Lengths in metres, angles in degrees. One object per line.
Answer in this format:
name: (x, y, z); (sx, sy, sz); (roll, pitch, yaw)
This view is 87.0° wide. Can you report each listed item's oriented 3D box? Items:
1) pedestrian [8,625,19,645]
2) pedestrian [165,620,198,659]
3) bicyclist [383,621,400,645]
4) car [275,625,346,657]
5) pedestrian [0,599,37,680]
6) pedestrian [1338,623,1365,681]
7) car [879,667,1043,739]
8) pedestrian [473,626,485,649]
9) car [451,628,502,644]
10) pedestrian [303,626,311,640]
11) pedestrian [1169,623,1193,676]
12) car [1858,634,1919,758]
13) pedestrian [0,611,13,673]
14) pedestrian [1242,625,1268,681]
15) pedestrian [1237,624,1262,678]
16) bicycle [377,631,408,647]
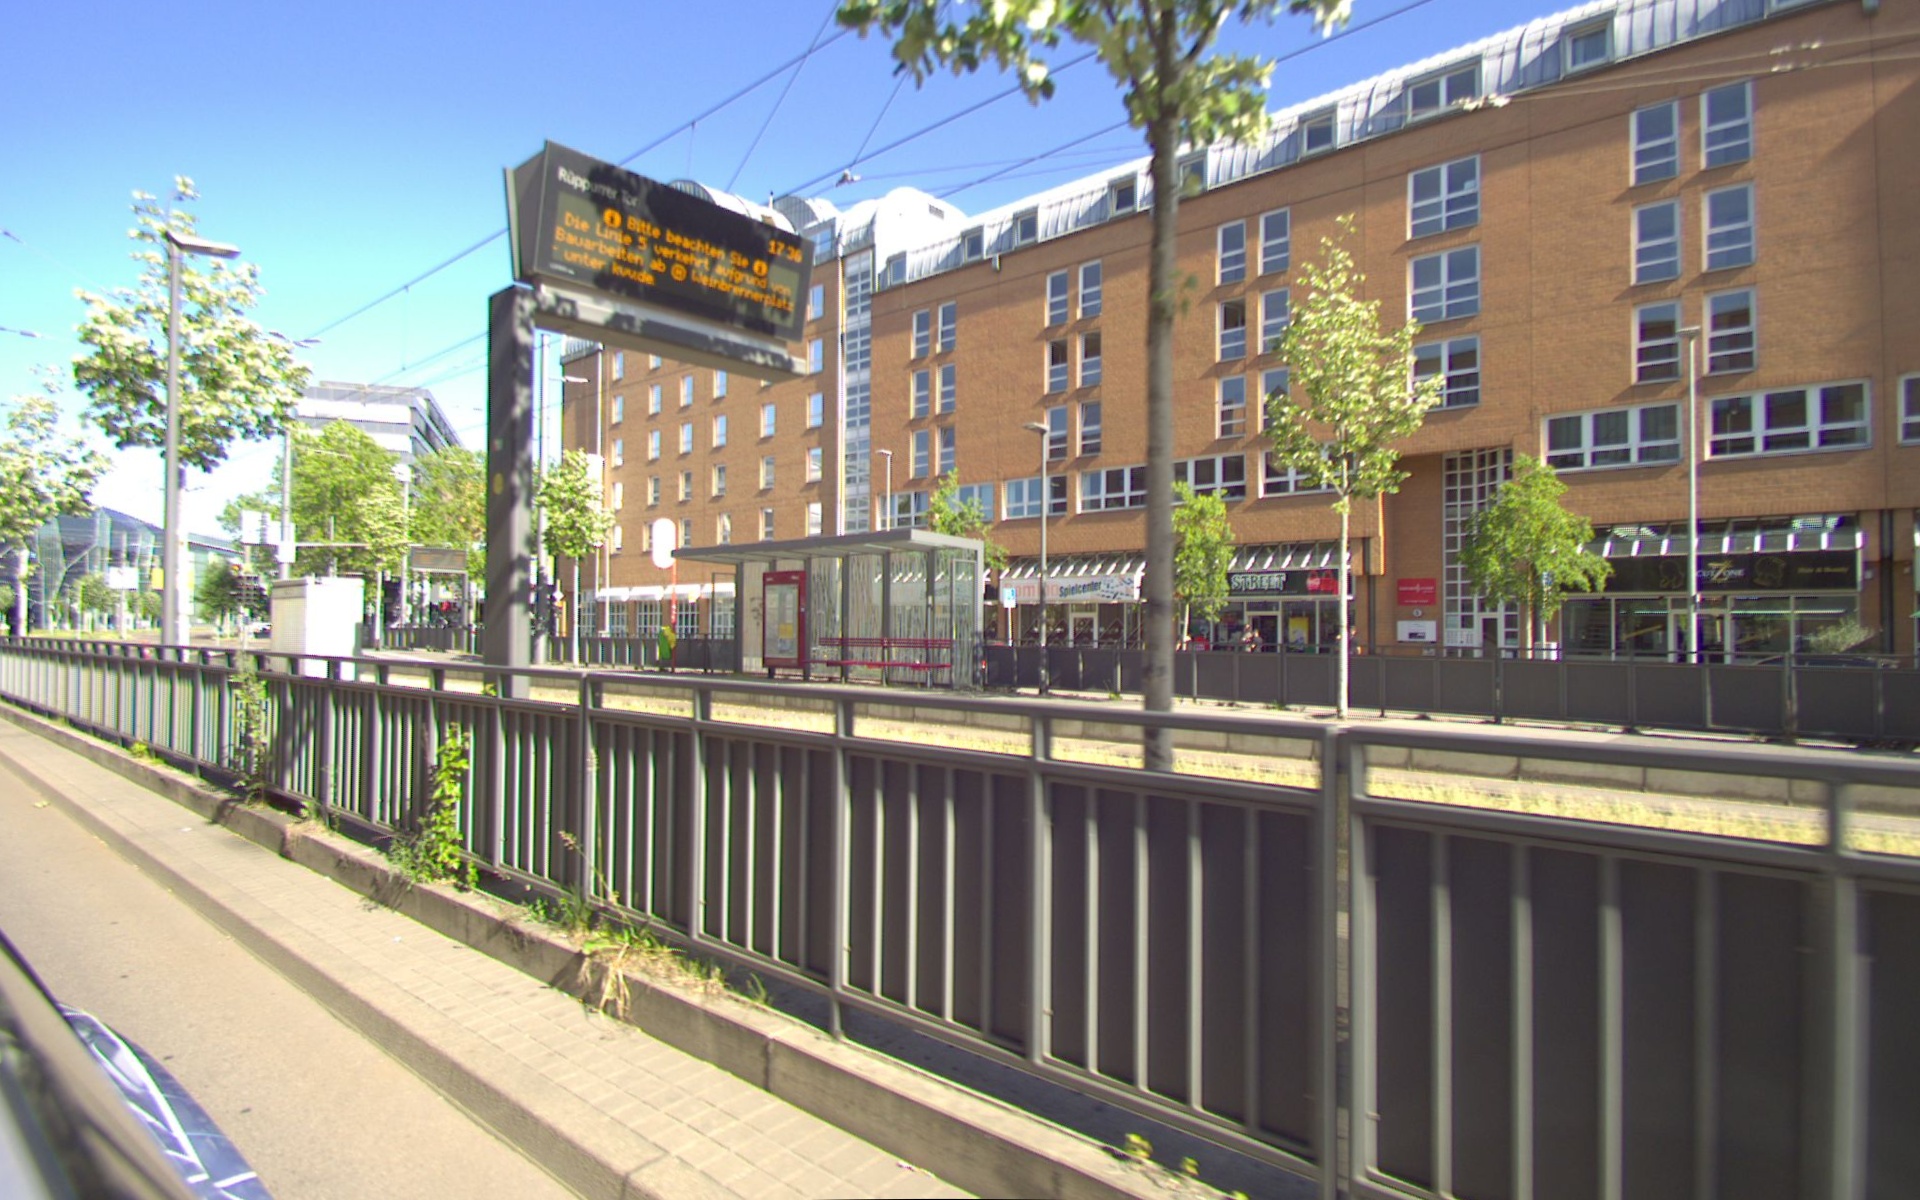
pedestrian: (-77.089, 2.871, 82.416); (0.572, 1.647, 0.549); (2, -2, -37)
pedestrian: (-33.932, 1.713, 44.122); (1.006, 1.702, 0.947); (-1, -3, 42)
bicyclist: (-39.860, 2.319, 70.957); (0.836, 1.652, 0.780); (2, -3, -40)
car: (-32.485, 2.031, 50.567); (4.287, 1.510, 1.911); (-1, -2, 42)
pedestrian: (-20.798, 0.859, 22.183); (0.751, 1.736, 0.702); (-1, -3, 39)
pedestrian: (12.635, 1.677, 32.652); (0.644, 1.854, 0.614); (-1, -3, 41)
car: (-0.016, 2.597, 26.216); (3.997, 1.475, 1.859); (0, 0, 40)
pedestrian: (-36.963, 2.896, 77.793); (0.728, 1.719, 0.637); (-1, -3, 45)
car: (-47.605, 3.578, 99.626); (1.910, 1.519, 4.114); (-1, -3, 43)
pedestrian: (-66.038, 3.305, 102.328); (0.653, 1.408, 0.673); (2, -2, -37)
pedestrian: (7.973, 1.777, 36.447); (0.644, 1.854, 0.614); (-1, -3, 39)
car: (15.321, 1.383, 14.214); (3.998, 1.696, 1.973); (0, 0, 41)
pedestrian: (-28.673, 1.221, 29.775); (1.021, 1.825, 0.982); (-1, -2, 37)
pedestrian: (9.849, 1.754, 33.787); (0.644, 1.854, 0.614); (-1, -3, 39)
pedestrian: (10.214, 1.792, 35.727); (0.644, 1.854, 0.614); (-1, -3, 39)
bicycle: (-39.775, 2.762, 70.969); (1.812, 1.108, 0.639); (2, -3, -41)
